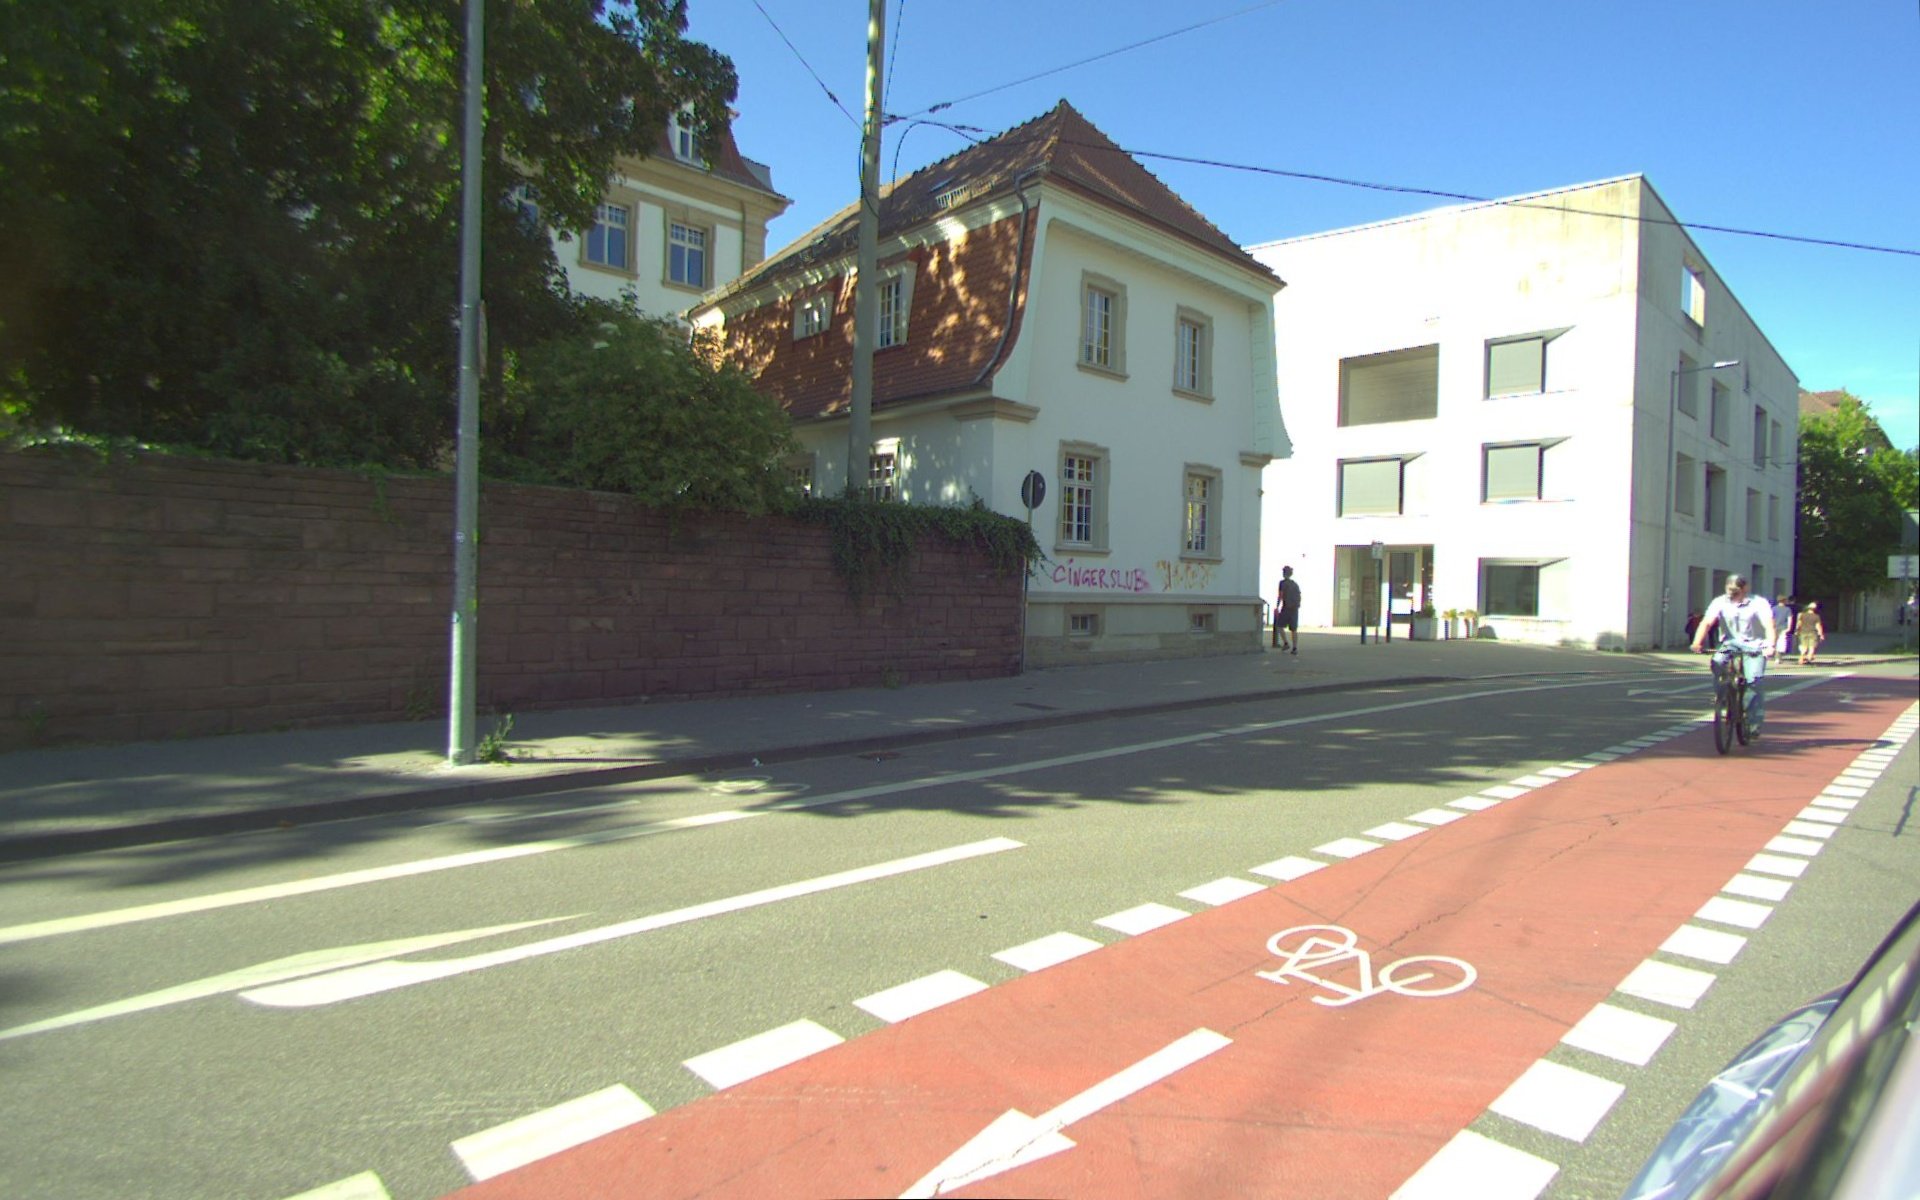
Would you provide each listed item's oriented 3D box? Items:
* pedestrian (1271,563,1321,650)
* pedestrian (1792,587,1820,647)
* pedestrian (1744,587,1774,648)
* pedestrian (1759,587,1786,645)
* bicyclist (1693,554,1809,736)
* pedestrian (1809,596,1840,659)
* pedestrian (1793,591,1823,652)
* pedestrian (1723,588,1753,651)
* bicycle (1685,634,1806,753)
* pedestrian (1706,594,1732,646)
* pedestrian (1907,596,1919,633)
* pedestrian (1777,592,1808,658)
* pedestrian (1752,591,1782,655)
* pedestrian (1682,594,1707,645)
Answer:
[{"bbox_3d":[7.357,0.131,22.179,0.720,1.857,0.754,1,1,-42],"label":"pedestrian"},{"bbox_3d":[26.621,0.528,31.830,0.536,1.828,0.587,1,1,-43],"label":"pedestrian"},{"bbox_3d":[24.277,0.526,30.752,0.573,1.828,0.587,1,1,-43],"label":"pedestrian"},{"bbox_3d":[26.036,0.514,32.436,0.536,1.828,0.587,1,1,-43],"label":"pedestrian"},{"bbox_3d":[8.274,0.441,10.585,0.996,1.798,0.751,1,0,-39],"label":"bicyclist"},{"bbox_3d":[24.283,0.766,28.414,0.511,1.749,0.587,1,1,-43],"label":"pedestrian"},{"bbox_3d":[25.593,0.637,30.546,0.573,1.828,0.587,1,1,-43],"label":"pedestrian"},{"bbox_3d":[23.030,0.574,29.963,0.536,1.828,0.587,1,1,-43],"label":"pedestrian"},{"bbox_3d":[8.210,0.927,10.552,1.797,1.091,0.612,1,0,-39],"label":"bicycle"},{"bbox_3d":[23.787,0.618,31.710,0.511,1.586,0.533,1,1,-43],"label":"pedestrian"},{"bbox_3d":[45.563,0.684,48.080,0.915,1.760,0.678,1,1,-41],"label":"pedestrian"},{"bbox_3d":[23.582,0.687,28.672,0.511,1.828,0.587,1,1,-43],"label":"pedestrian"},{"bbox_3d":[23.516,0.650,29.484,0.536,1.828,0.587,1,1,-43],"label":"pedestrian"},{"bbox_3d":[23.360,0.615,32.200,0.511,1.586,0.533,1,1,-43],"label":"pedestrian"}]
